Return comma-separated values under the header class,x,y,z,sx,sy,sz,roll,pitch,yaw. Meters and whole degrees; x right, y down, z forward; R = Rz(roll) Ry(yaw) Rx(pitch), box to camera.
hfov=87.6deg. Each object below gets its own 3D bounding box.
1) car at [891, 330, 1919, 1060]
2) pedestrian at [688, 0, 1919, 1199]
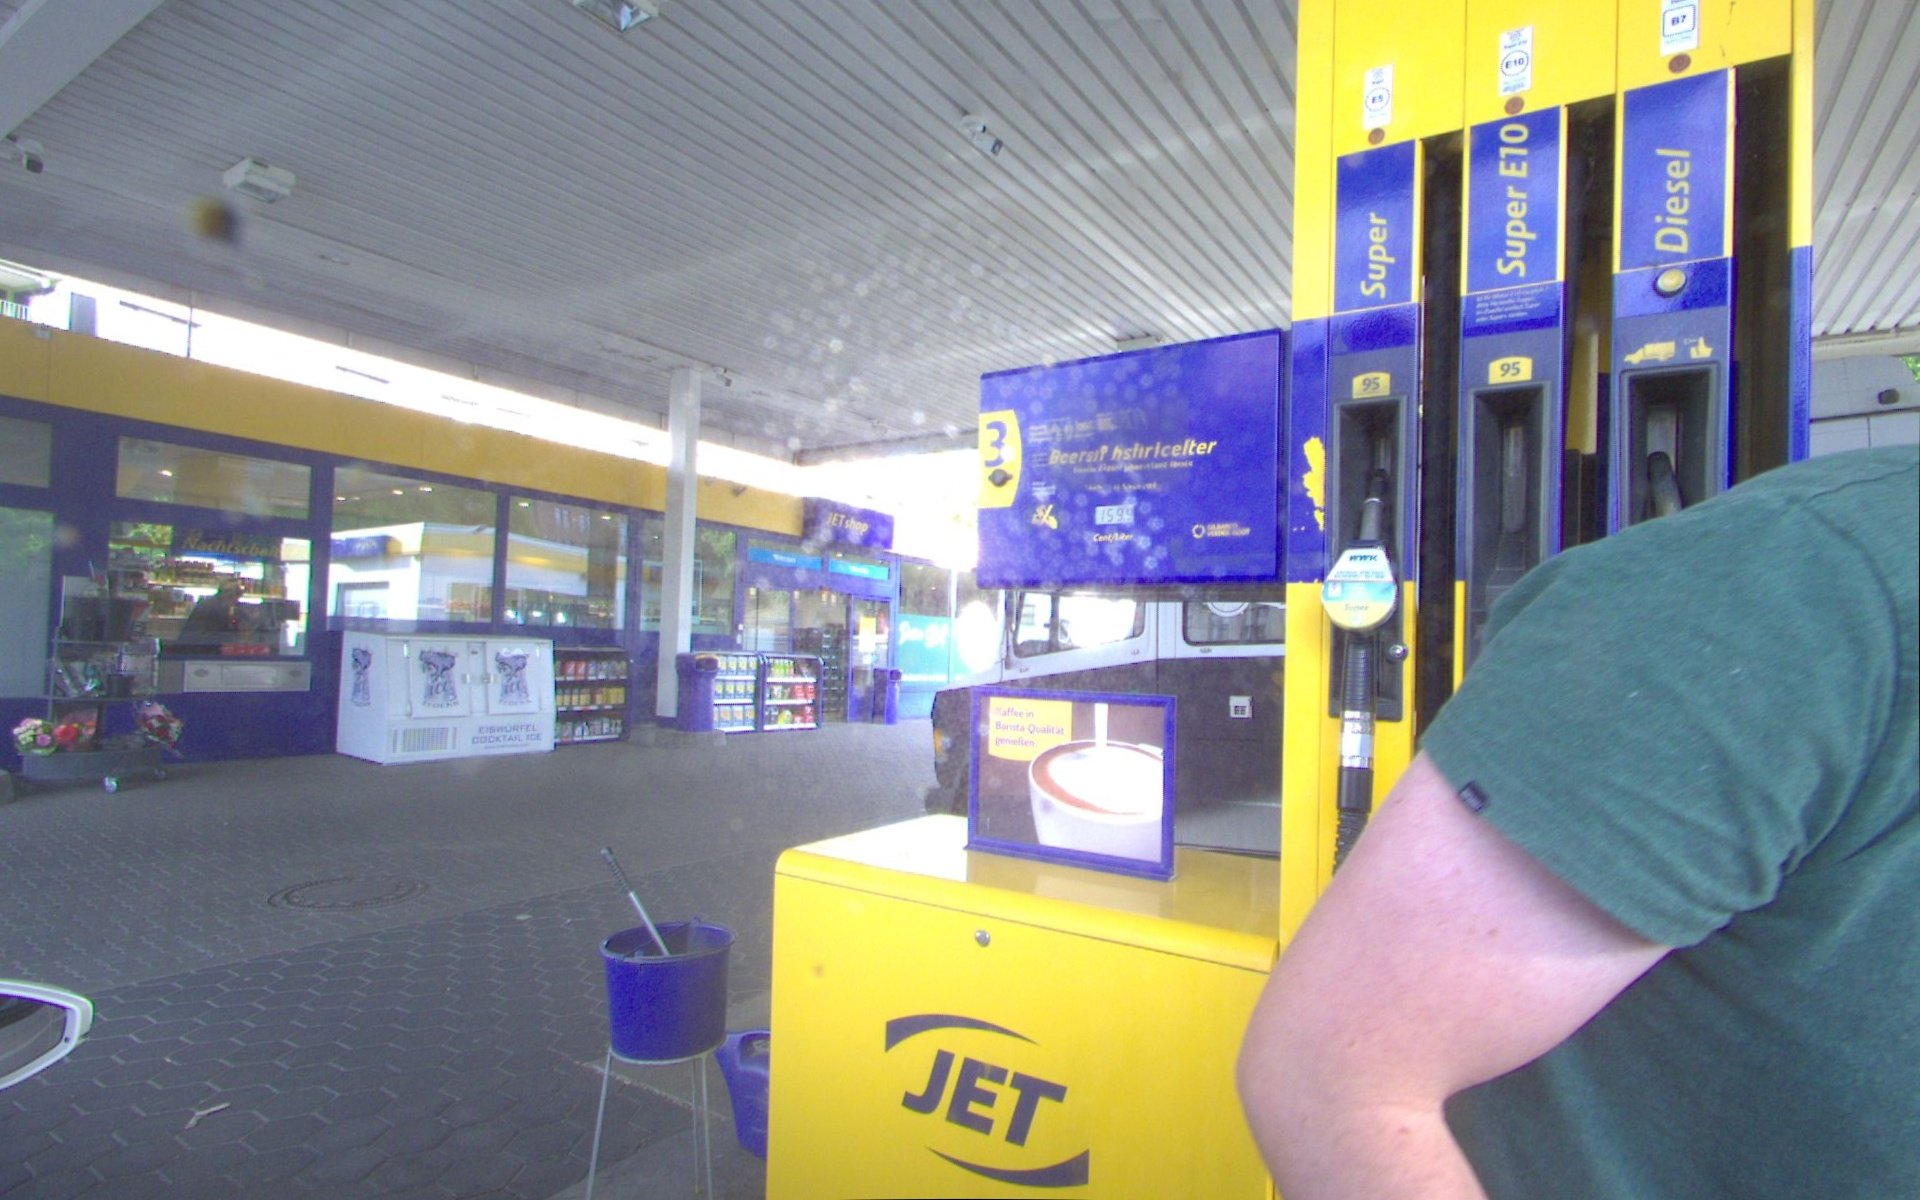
class,x,y,z,sx,sy,sz,roll,pitch,yaw
car,2.347,0.436,6.005,5.271,2.759,2.193,-1,-3,34
pedestrian,0.657,0.555,0.453,1.167,1.750,0.988,-2,-2,35
